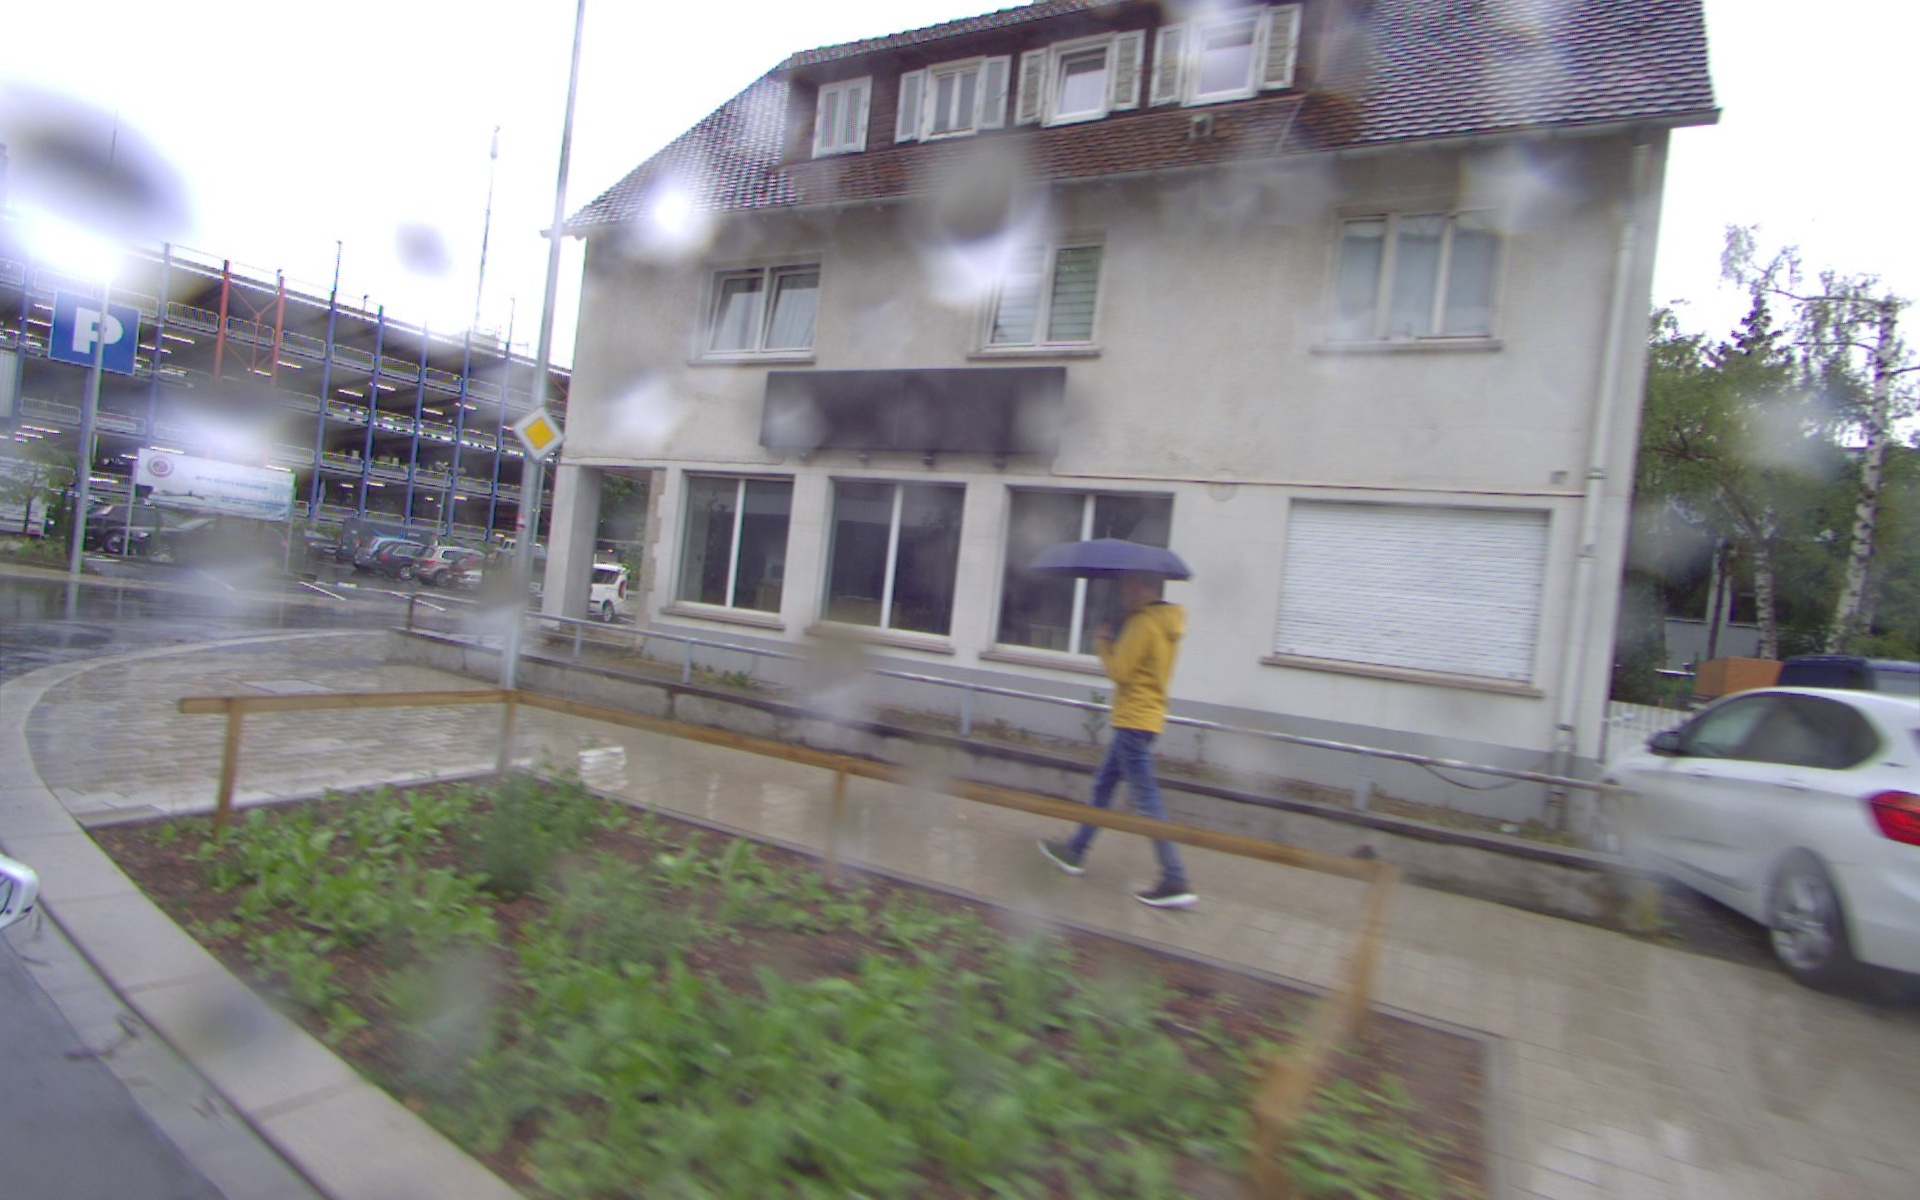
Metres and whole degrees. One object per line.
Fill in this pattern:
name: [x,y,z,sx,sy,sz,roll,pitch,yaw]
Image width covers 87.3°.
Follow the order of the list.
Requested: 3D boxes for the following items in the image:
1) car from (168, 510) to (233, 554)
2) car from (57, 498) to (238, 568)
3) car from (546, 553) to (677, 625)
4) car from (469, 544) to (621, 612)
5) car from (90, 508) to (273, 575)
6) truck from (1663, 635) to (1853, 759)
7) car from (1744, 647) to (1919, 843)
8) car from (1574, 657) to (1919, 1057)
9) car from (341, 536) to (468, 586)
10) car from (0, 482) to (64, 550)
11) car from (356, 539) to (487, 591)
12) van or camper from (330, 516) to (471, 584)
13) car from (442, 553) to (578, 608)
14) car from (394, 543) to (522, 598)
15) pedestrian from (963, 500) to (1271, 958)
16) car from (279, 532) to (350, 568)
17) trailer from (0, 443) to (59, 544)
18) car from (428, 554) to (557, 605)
car: [-36.956,-3.324,48.919,3.944,1.700,1.727,7,1,42]
car: [-24.031,-1.942,29.907,1.700,1.466,3.736,7,-1,26]
car: [-11.510,-0.377,33.132,4.424,1.851,1.885,7,1,39]
car: [-14.562,-0.731,35.462,1.869,1.851,4.463,7,0,45]
car: [-22.222,-1.626,28.864,1.663,1.331,3.736,7,-1,26]
truck: [14.477,1.861,18.500,1.685,1.856,4.006,6,-5,25]
car: [11.913,1.742,12.608,2.084,2.046,4.850,7,1,26]
car: [5.616,1.340,6.116,1.962,1.600,4.142,7,1,15]
car: [-23.832,-1.658,43.281,1.837,1.603,4.352,7,0,38]
car: [-24.945,-2.263,24.917,1.622,1.548,3.732,6,0,29]
car: [-22.280,-1.422,41.784,1.837,1.603,4.352,7,0,38]
van or camper: [-25.107,-2.202,45.300,2.188,2.355,4.953,7,0,37]
car: [-16.576,-0.681,37.146,1.840,1.516,4.117,7,0,43]
car: [-20.095,-1.173,40.395,1.837,1.688,4.124,7,0,38]
pedestrian: [0.830,0.586,5.242,1.174,2.040,0.860,7,2,27]
car: [-33.678,-2.630,52.465,3.945,1.501,1.893,4,-6,40]
trailer: [-22.878,-2.607,23.154,1.522,2.197,2.706,7,-1,31]
car: [-18.189,-0.776,39.271,1.837,1.516,4.124,7,0,38]
